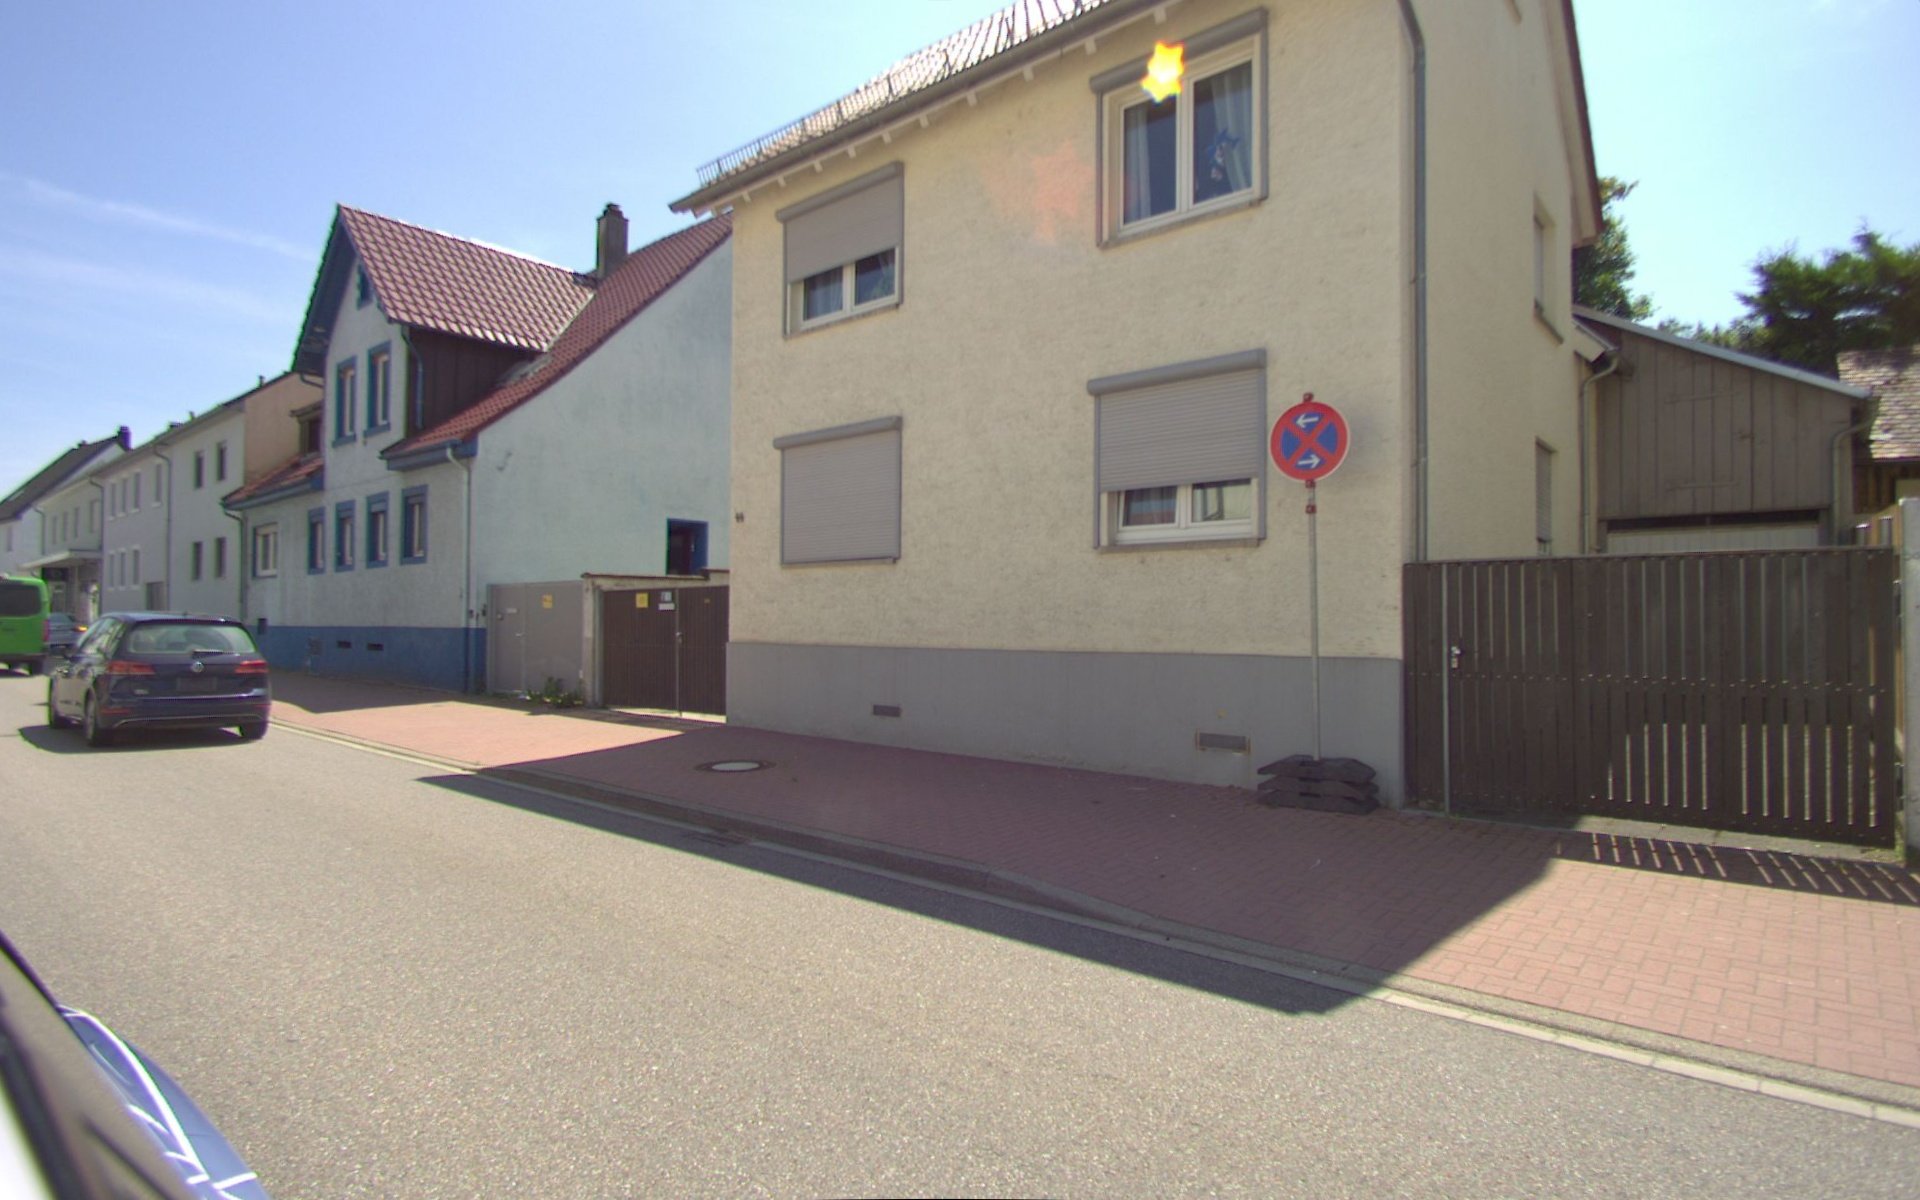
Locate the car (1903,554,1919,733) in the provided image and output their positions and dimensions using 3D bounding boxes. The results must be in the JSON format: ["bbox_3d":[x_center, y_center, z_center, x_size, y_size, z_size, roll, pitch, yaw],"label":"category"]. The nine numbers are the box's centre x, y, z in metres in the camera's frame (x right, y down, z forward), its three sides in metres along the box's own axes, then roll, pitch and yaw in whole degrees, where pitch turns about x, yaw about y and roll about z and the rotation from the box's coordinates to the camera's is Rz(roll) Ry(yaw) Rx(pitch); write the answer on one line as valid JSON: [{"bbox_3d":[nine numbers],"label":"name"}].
[{"bbox_3d":[9.082,0.434,8.094,1.815,1.688,3.950,-1,1,37],"label":"car"}]

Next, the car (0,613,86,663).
[{"bbox_3d":[-32.086,1.266,35.307,4.563,1.569,1.789,-1,1,42],"label":"car"}]

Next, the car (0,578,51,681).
[{"bbox_3d":[-24.474,0.725,25.188,6.079,2.372,2.029,-1,-3,42],"label":"car"}]

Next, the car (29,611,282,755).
[{"bbox_3d":[-10.346,0.959,12.915,4.075,1.548,1.747,-1,-3,41],"label":"car"}]

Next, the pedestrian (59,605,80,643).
[{"bbox_3d":[-39.676,1.071,45.089,0.770,1.697,0.618,-1,-1,40],"label":"pedestrian"}]
